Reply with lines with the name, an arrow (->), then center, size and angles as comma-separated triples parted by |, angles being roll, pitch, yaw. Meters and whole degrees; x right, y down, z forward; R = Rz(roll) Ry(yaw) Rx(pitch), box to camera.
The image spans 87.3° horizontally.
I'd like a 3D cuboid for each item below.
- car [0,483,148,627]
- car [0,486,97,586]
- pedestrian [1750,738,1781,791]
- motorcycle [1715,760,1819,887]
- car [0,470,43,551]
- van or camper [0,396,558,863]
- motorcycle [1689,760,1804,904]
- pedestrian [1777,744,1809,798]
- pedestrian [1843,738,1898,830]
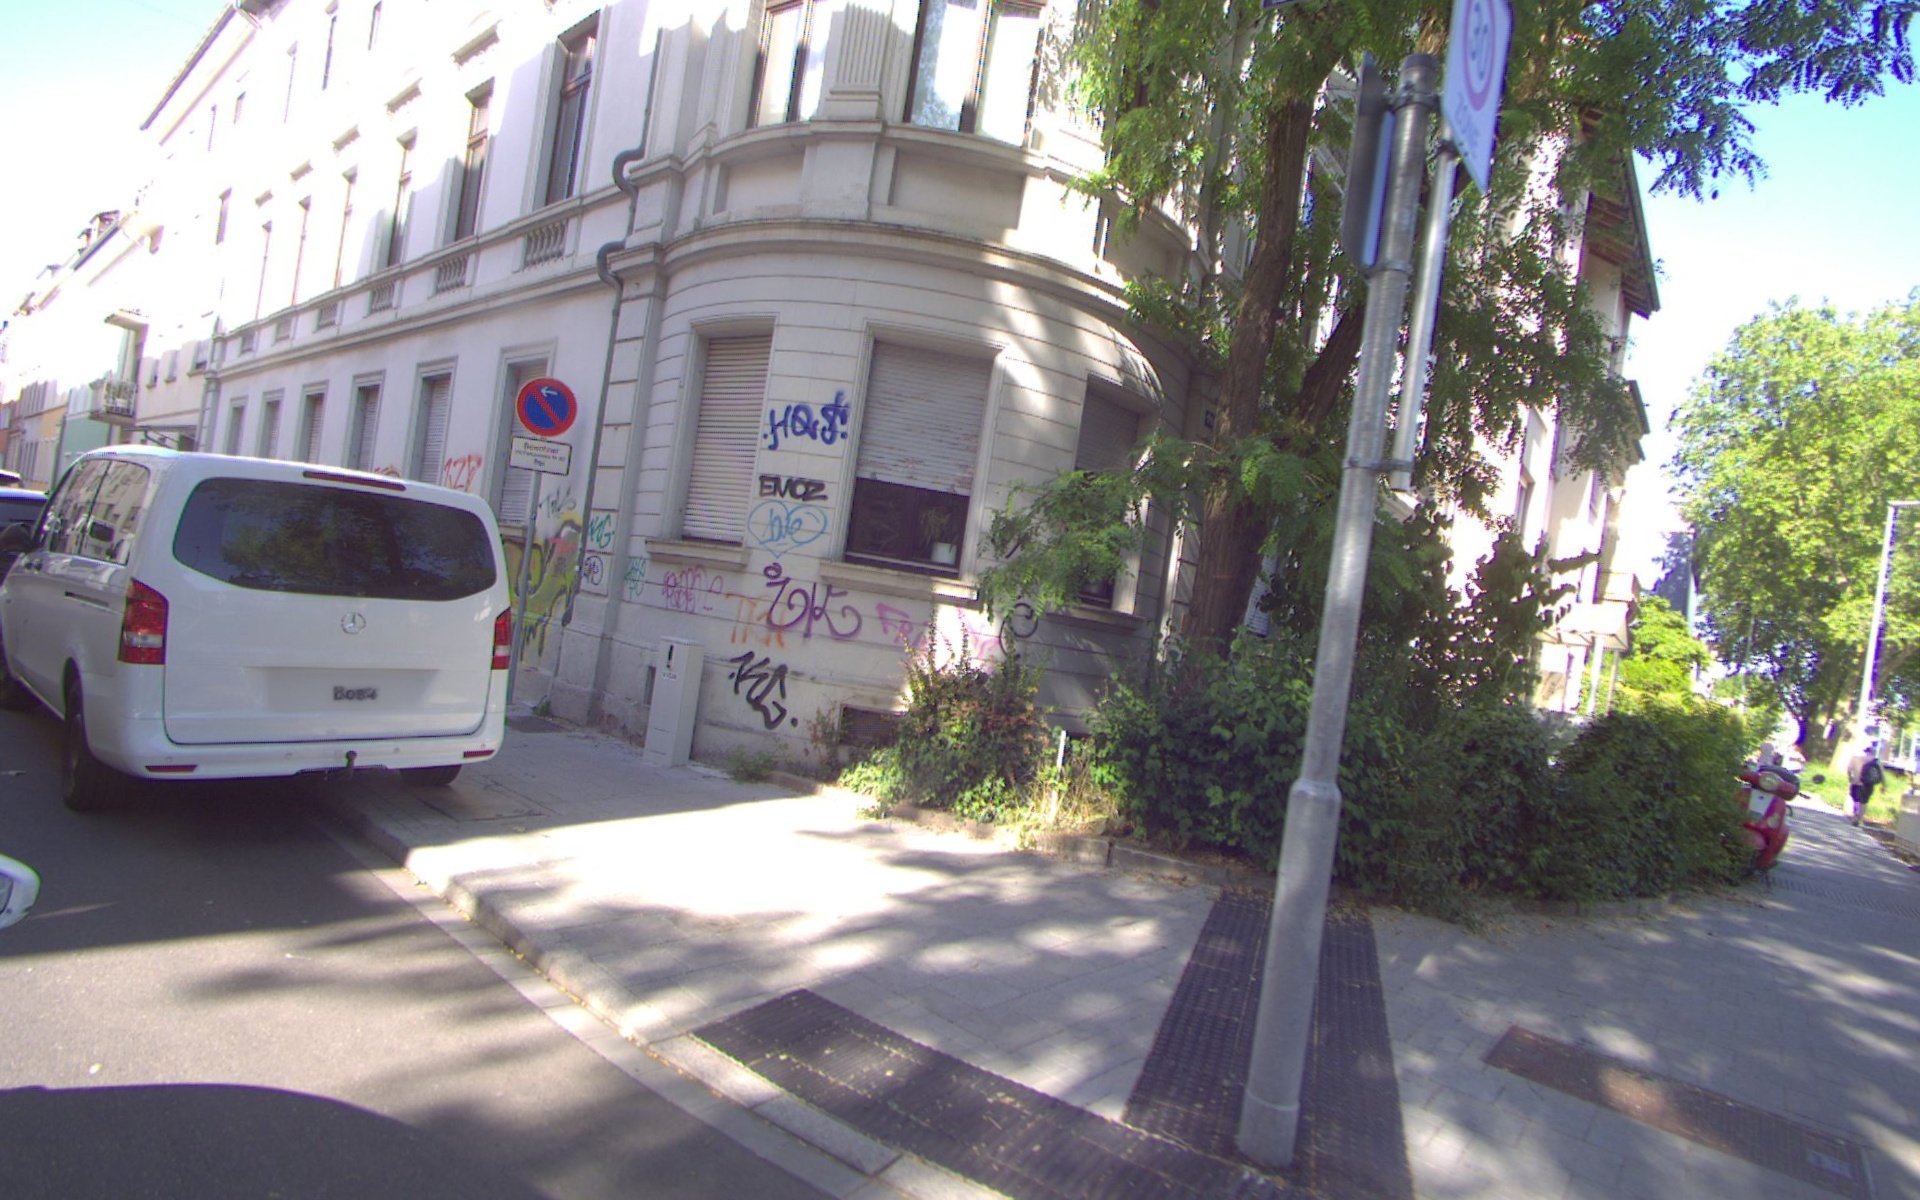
car -> -13.050, -0.774, 14.069 | 4.662, 1.536, 1.815 | 8, -3, 43
car -> -17.372, -1.294, 18.465 | 3.816, 1.464, 1.746 | 8, -3, 43
pedestrian -> 29.914, 6.106, 37.381 | 0.689, 1.817, 0.799 | 8, 0, 39
motorcycle -> 9.008, 2.448, 11.202 | 1.794, 1.200, 0.591 | 10, -2, -45
car -> -24.751, -2.451, 25.251 | 4.871, 1.804, 2.003 | 8, -1, 43
van or camper -> -4.910, -0.007, 6.697 | 4.959, 2.037, 1.893 | 8, -1, 41
motorcycle -> 7.761, 2.239, 9.901 | 1.547, 1.200, 0.591 | 10, -2, -45
pedestrian -> 30.560, 6.266, 36.922 | 0.689, 1.817, 0.712 | 8, 0, 39
pedestrian -> 20.115, 4.051, 22.240 | 0.657, 1.871, 0.692 | 9, 0, 39
